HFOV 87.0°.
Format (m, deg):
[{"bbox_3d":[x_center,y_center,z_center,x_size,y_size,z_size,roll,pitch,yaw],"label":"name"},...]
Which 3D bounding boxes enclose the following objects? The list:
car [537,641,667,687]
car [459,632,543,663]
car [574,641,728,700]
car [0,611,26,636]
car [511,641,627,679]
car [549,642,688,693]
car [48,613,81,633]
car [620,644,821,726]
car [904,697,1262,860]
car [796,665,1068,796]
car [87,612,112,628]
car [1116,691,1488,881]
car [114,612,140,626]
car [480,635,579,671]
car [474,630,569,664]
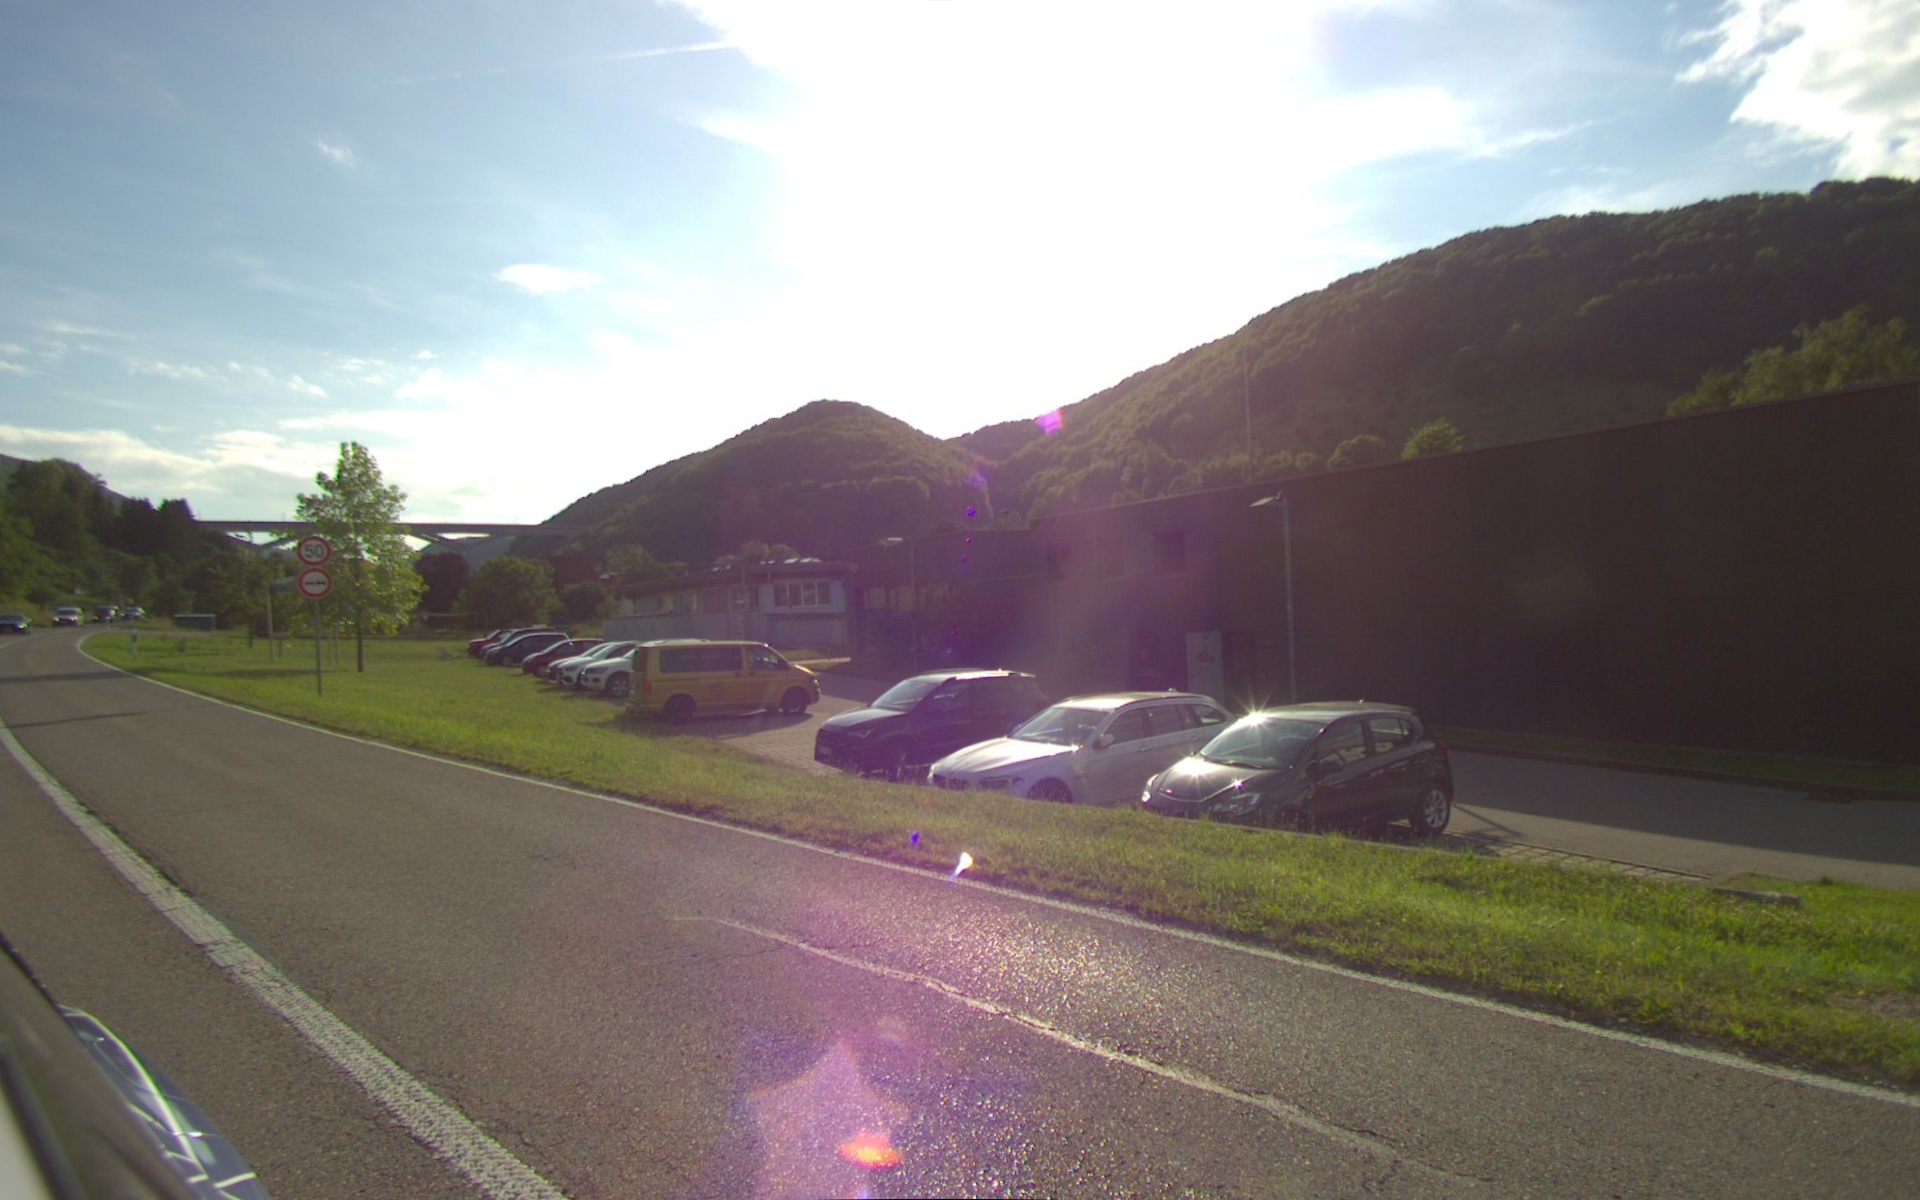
[{"bbox_3d":[-13.718,2.395,38.849,4.371,1.595,2.006,1,-2,-32],"label":"car"},{"bbox_3d":[-27.298,2.793,60.231,4.371,1.733,2.006,0,-2,-31],"label":"car"},{"bbox_3d":[-10.070,2.250,33.010,4.477,1.714,2.006,0,-2,-30],"label":"car"},{"bbox_3d":[-66.581,1.671,70.511,1.883,1.698,4.007,0,-2,-39],"label":"car"},{"bbox_3d":[-16.596,2.514,42.999,4.370,1.463,2.006,0,-2,-30],"label":"car"},{"bbox_3d":[-12.093,2.346,35.881,4.370,1.599,2.006,0,-2,-30],"label":"car"},{"bbox_3d":[-83.830,2.187,94.769,1.770,1.749,4.294,-1,-1,-35],"label":"car"},{"bbox_3d":[-6.027,2.061,25.590,4.583,1.827,2.006,0,-2,-30],"label":"car"},{"bbox_3d":[1.717,2.199,13.417,4.577,1.508,1.918,1,-2,-34],"label":"car"},{"bbox_3d":[-0.412,2.088,17.192,4.226,1.650,1.917,-2,-1,-35],"label":"car"},{"bbox_3d":[-95.979,2.261,112.893,1.652,1.659,3.355,-1,-1,-33],"label":"car"},{"bbox_3d":[3.888,1.921,11.390,3.932,1.546,1.839,0,-2,-31],"label":"car"},{"bbox_3d":[-104.234,2.405,126.655,1.966,1.730,4.012,-1,-1,-31],"label":"car"},{"bbox_3d":[-21.946,2.676,51.624,4.371,1.595,2.006,-1,-1,-31],"label":"car"},{"bbox_3d":[-24.191,2.555,55.896,4.595,1.776,2.006,0,-2,-31],"label":"car"}]
